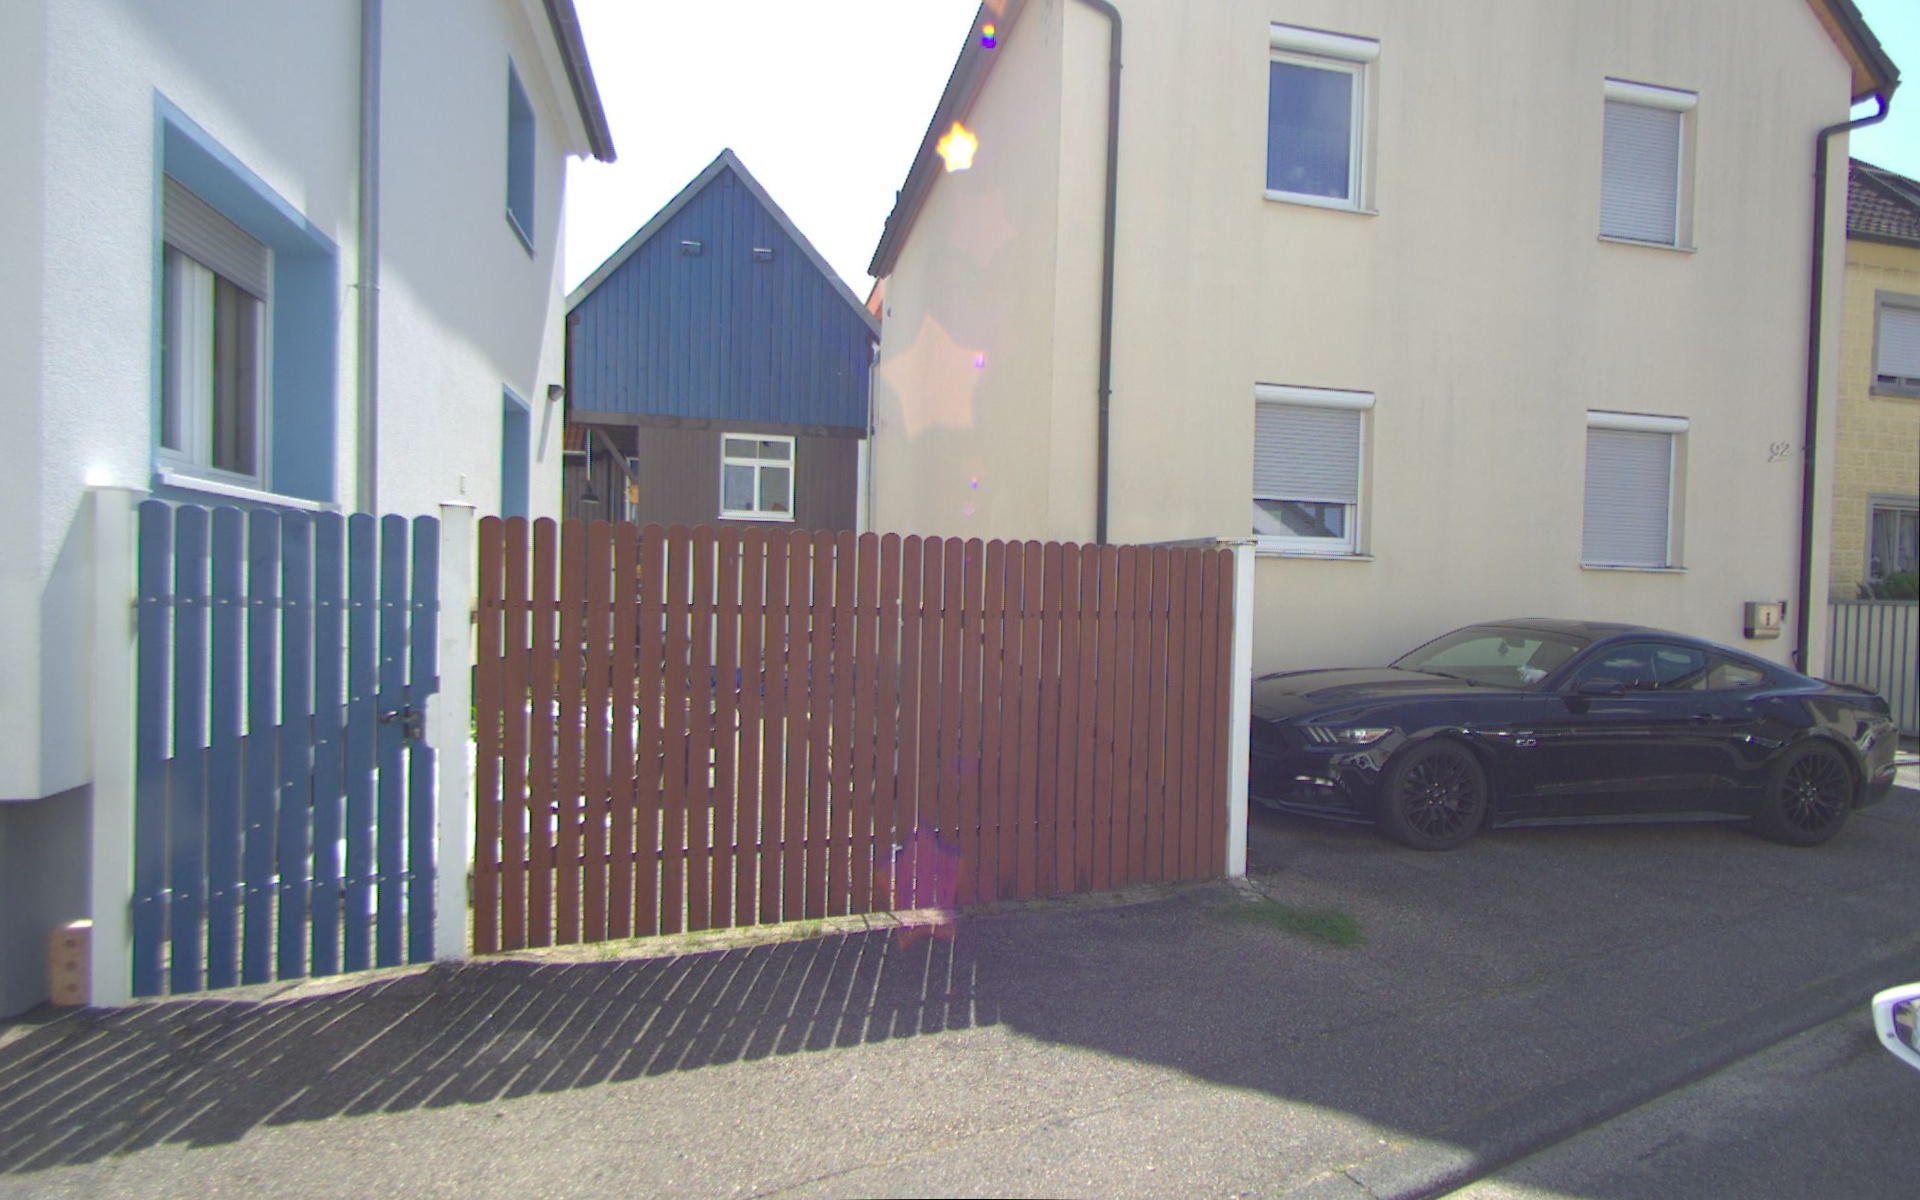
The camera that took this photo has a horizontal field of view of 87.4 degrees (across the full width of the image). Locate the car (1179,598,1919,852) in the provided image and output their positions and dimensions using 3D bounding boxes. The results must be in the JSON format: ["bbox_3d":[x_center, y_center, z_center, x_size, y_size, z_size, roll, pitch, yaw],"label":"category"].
[{"bbox_3d":[3.956,0.793,6.947,4.392,1.367,1.771,3,1,-13],"label":"car"}]
